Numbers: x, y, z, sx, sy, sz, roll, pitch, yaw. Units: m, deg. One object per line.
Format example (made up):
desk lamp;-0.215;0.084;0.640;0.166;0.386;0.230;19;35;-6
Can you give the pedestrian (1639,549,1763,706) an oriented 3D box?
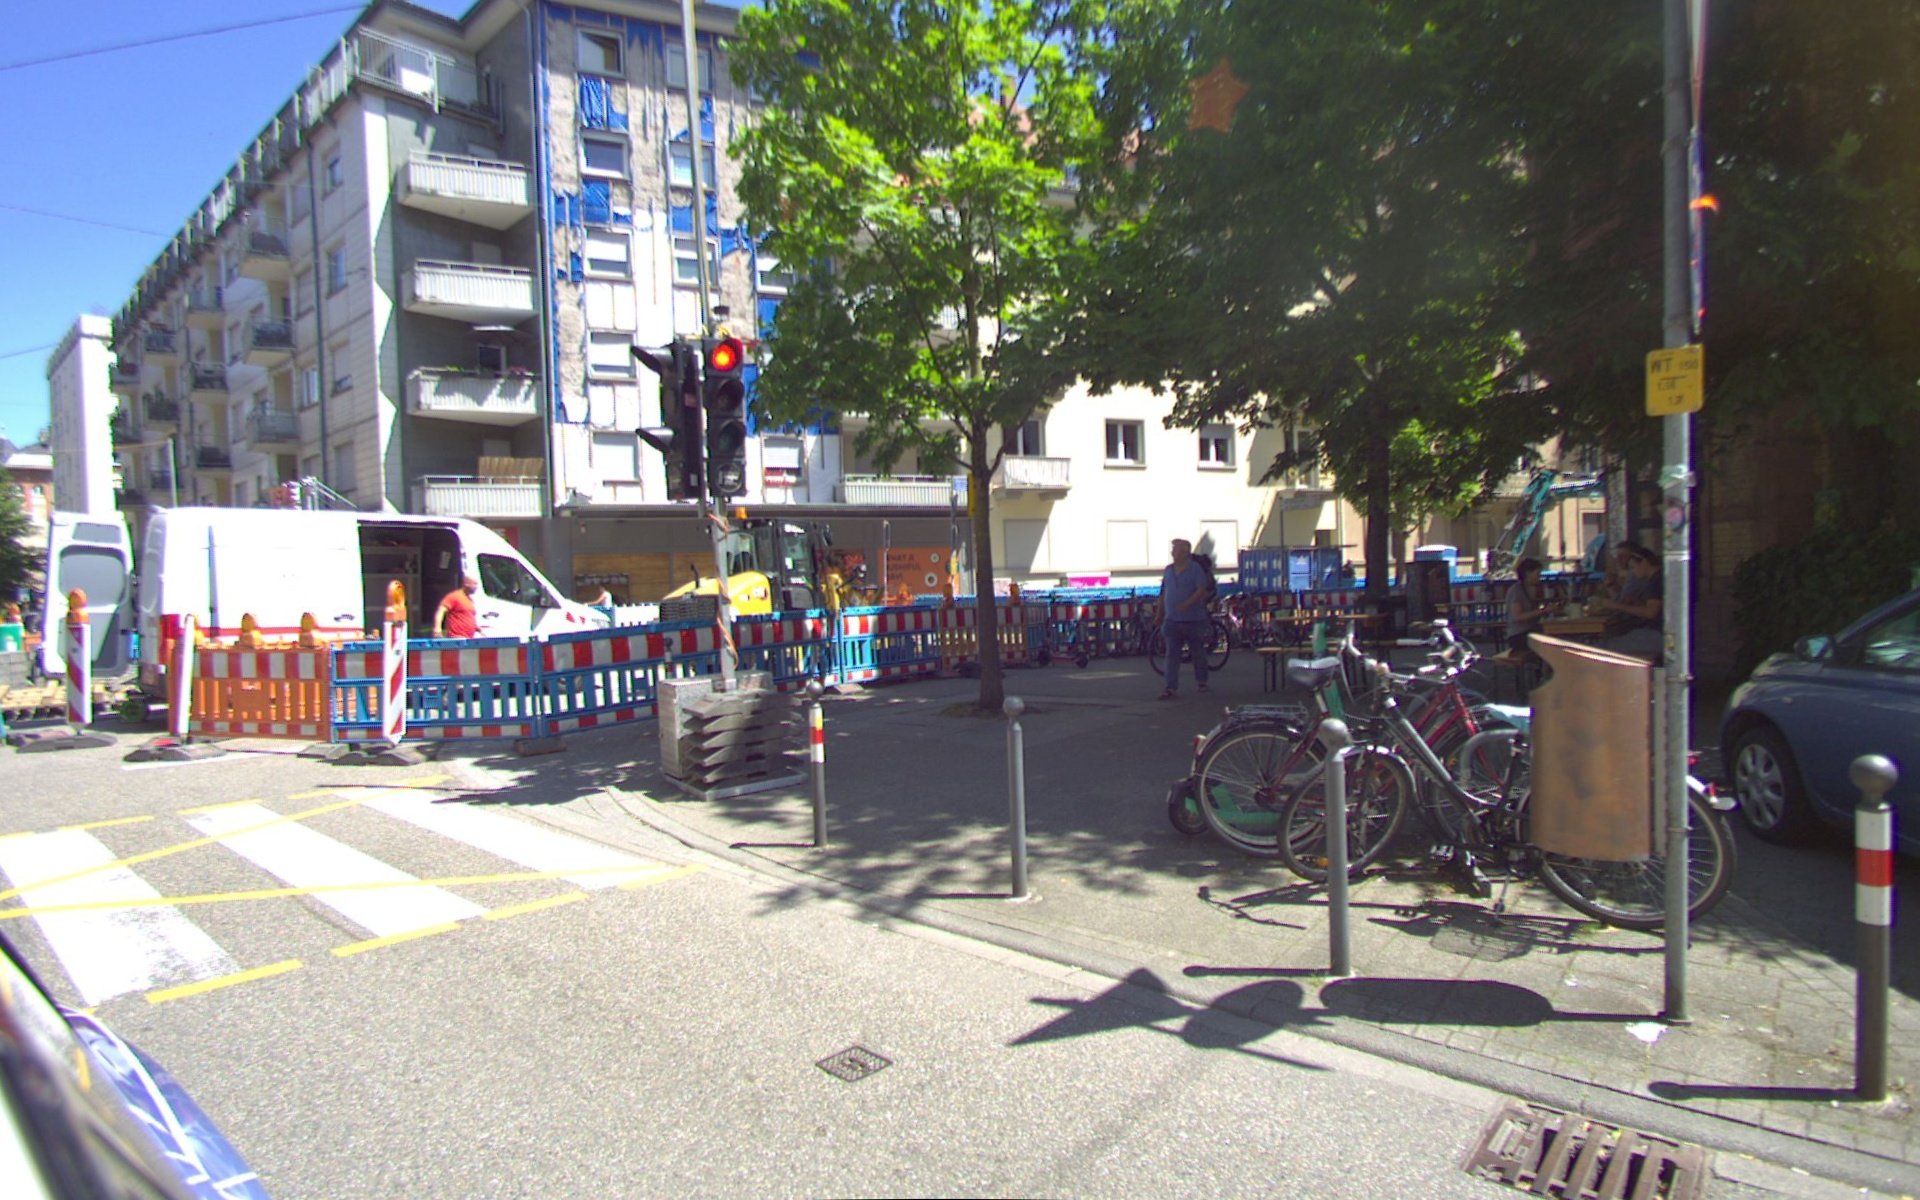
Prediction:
pedestrian;6.071;0.215;8.318;0.591;1.229;0.556;-2;1;8

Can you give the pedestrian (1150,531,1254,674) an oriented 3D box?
pedestrian;3.245;0.020;13.560;0.993;1.803;0.866;-5;3;-41

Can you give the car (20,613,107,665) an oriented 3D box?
car;-35.196;1.535;39.698;4.694;1.824;1.771;-2;2;39

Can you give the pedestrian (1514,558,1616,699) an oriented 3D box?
pedestrian;5.513;0.250;9.250;0.591;1.229;0.556;-2;1;8

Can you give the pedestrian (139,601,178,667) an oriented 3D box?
pedestrian;-21.985;0.928;27.761;0.632;1.739;0.649;-2;1;40

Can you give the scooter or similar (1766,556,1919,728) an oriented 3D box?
scooter or similar;6.426;0.277;6.843;0.274;1.129;1.472;-6;3;-39

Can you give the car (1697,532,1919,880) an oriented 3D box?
car;4.801;0.424;3.571;1.979;1.385;3.987;-3;2;11

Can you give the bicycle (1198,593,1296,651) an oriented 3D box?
bicycle;5.237;0.414;18.577;0.483;0.996;1.817;-3;0;-33

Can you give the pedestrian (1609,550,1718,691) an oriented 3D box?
pedestrian;6.404;0.177;9.233;0.591;1.229;0.556;-2;1;8

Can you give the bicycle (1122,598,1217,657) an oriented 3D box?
bicycle;3.687;0.465;17.988;0.483;0.971;1.817;-3;1;-33

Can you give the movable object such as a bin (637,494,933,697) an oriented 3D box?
movable object such as a bin;-2.527;-0.075;15.790;1.948;2.679;4.509;-3;0;32

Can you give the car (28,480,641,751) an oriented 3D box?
car;-7.904;0.071;13.557;2.380;2.772;6.549;-1;1;43

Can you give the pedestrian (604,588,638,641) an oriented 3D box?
pedestrian;-8.927;0.372;26.649;0.657;1.349;0.519;-2;3;42

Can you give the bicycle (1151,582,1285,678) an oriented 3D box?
bicycle;3.542;0.369;13.755;2.254;1.094;0.602;-5;2;-43

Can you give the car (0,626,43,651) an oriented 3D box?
car;-64.751;2.658;68.490;1.651;1.540;3.835;-2;1;41

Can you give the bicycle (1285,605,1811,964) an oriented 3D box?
bicycle;2.234;0.654;4.035;1.678;1.182;0.487;-2;2;30

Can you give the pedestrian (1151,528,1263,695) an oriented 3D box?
pedestrian;2.682;0.116;10.995;0.929;1.716;0.631;-2;2;39

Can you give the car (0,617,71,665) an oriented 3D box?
car;-40.044;1.775;43.755;4.899;1.842;1.770;-2;2;42

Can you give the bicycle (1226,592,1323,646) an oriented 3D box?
bicycle;5.855;0.349;18.923;0.483;0.942;1.817;-3;1;-33

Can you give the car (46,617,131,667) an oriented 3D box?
car;-30.319;1.445;35.157;4.463;1.536;1.652;-2;2;43

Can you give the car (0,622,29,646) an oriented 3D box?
car;-74.019;2.699;77.452;1.651;1.760;3.835;-2;1;41

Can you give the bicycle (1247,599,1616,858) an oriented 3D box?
bicycle;2.335;0.614;5.139;1.613;1.165;0.335;-2;2;29

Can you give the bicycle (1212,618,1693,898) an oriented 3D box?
bicycle;2.206;0.672;4.727;1.891;1.089;0.487;-2;2;29

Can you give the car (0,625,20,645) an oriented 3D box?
car;-78.086;2.912;81.112;1.651;1.507;3.835;-2;1;41

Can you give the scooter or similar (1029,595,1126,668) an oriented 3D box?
scooter or similar;1.844;0.510;16.039;1.472;1.114;0.518;-4;-2;43

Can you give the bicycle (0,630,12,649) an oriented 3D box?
bicycle;-57.772;2.406;60.432;1.586;1.098;0.371;-6;2;-43

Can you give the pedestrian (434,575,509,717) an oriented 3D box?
pedestrian;-6.357;0.585;13.169;0.769;1.766;0.519;-2;3;42

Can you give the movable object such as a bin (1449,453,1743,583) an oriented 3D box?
movable object such as a bin;17.865;-2.263;28.597;6.635;3.236;3.326;-3;1;-15
